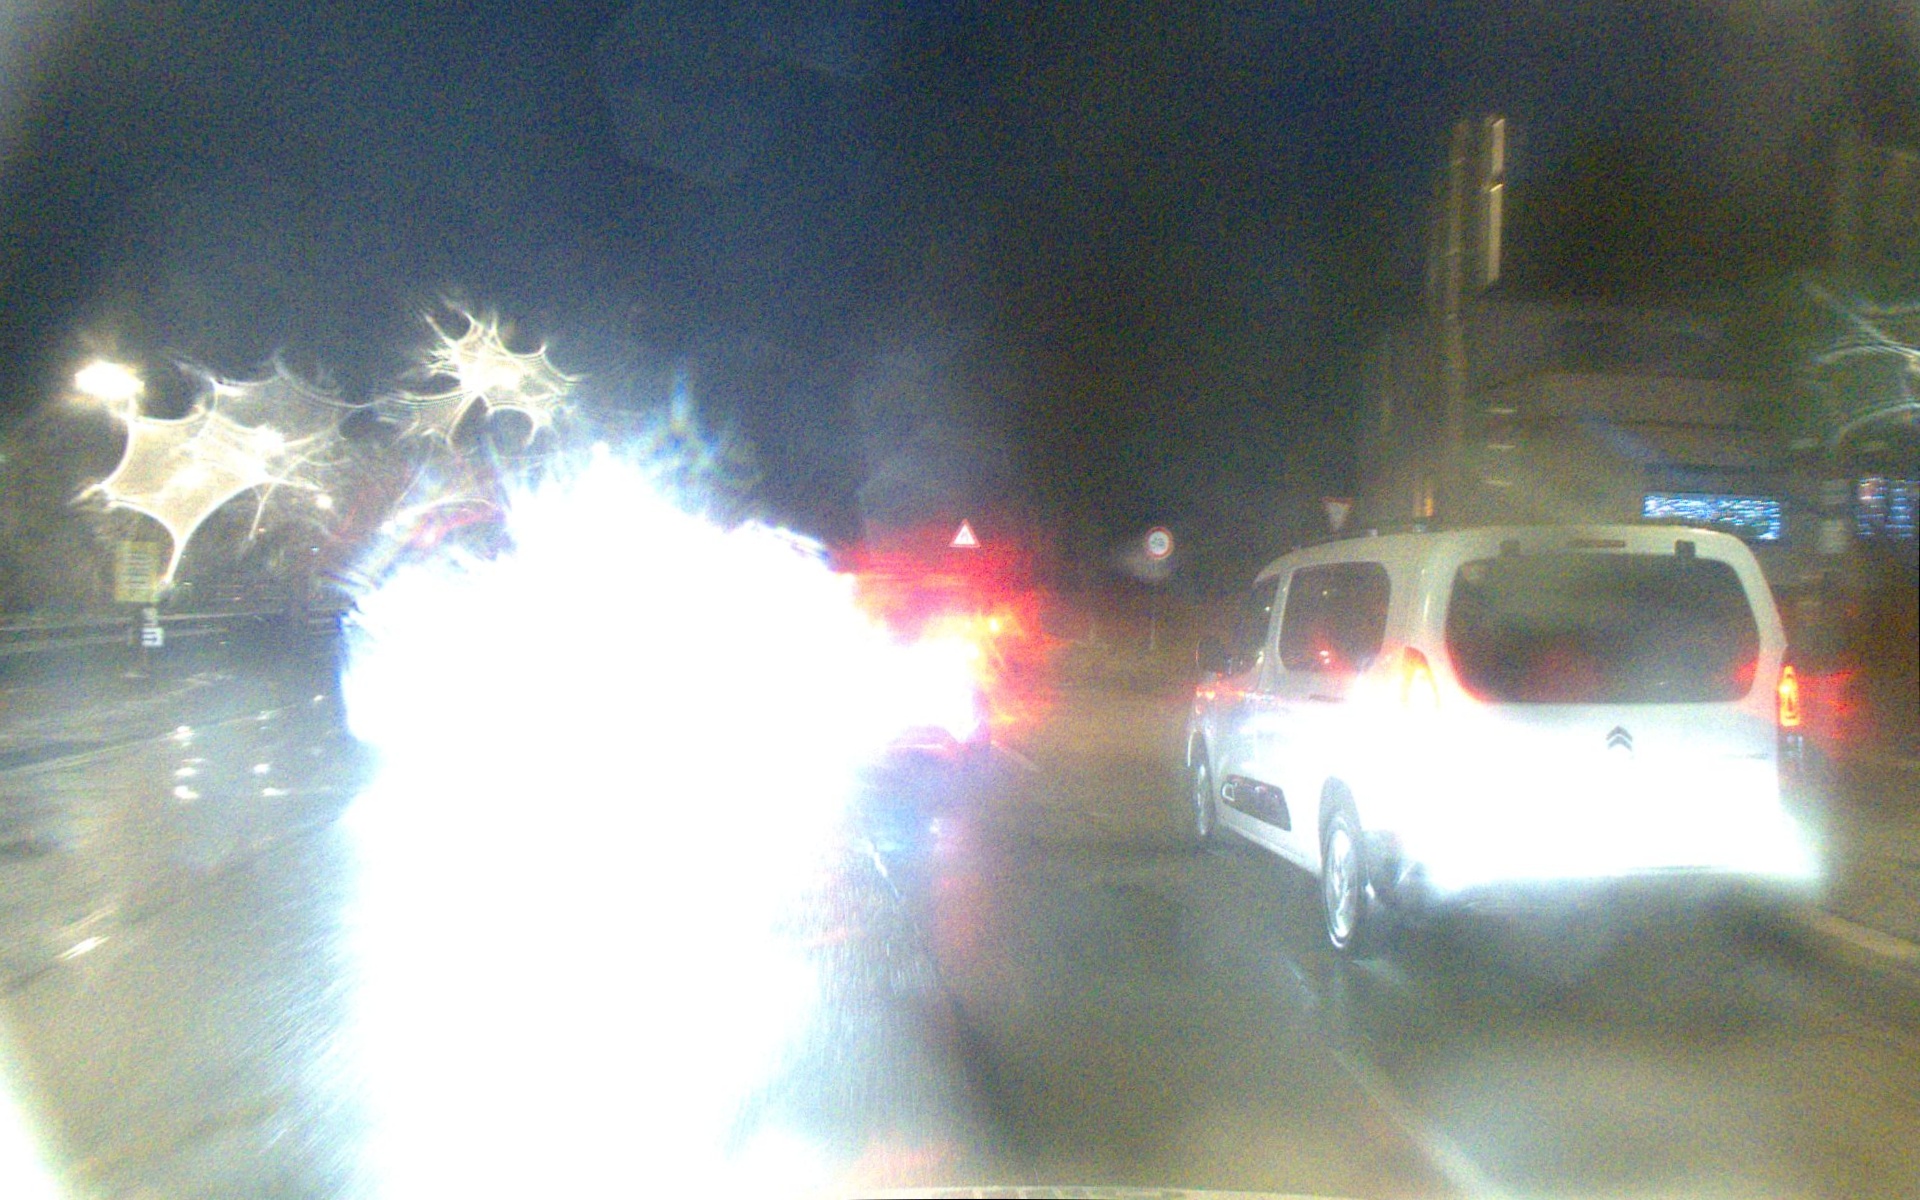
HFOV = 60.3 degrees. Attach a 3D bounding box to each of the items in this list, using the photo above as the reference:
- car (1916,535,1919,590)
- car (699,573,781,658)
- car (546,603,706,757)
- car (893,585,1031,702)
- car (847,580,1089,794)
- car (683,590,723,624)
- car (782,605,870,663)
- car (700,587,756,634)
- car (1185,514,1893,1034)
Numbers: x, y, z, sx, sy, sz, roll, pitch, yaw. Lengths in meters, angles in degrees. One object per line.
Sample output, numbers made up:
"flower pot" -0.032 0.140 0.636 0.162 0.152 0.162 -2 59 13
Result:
"car" 31.725 -1.130 50.511 1.758 1.698 4.019 1 0 -36
"car" -5.707 0.384 42.601 1.957 2.049 3.992 1 0 -9
"car" -4.715 1.033 23.290 1.979 1.920 4.438 1 0 -12
"car" -0.037 0.782 31.865 1.933 2.082 3.990 1 0 -11
"car" -0.079 0.719 15.903 1.975 1.747 4.448 1 0 -4
"car" -13.910 0.368 89.318 1.958 1.763 3.989 1 0 -11
"car" -4.371 1.070 53.486 1.963 1.748 3.980 1 0 -18
"car" -9.167 0.383 65.232 1.958 1.763 3.989 1 0 -11
"car" 2.448 0.645 8.274 1.815 1.897 4.338 1 0 -3
